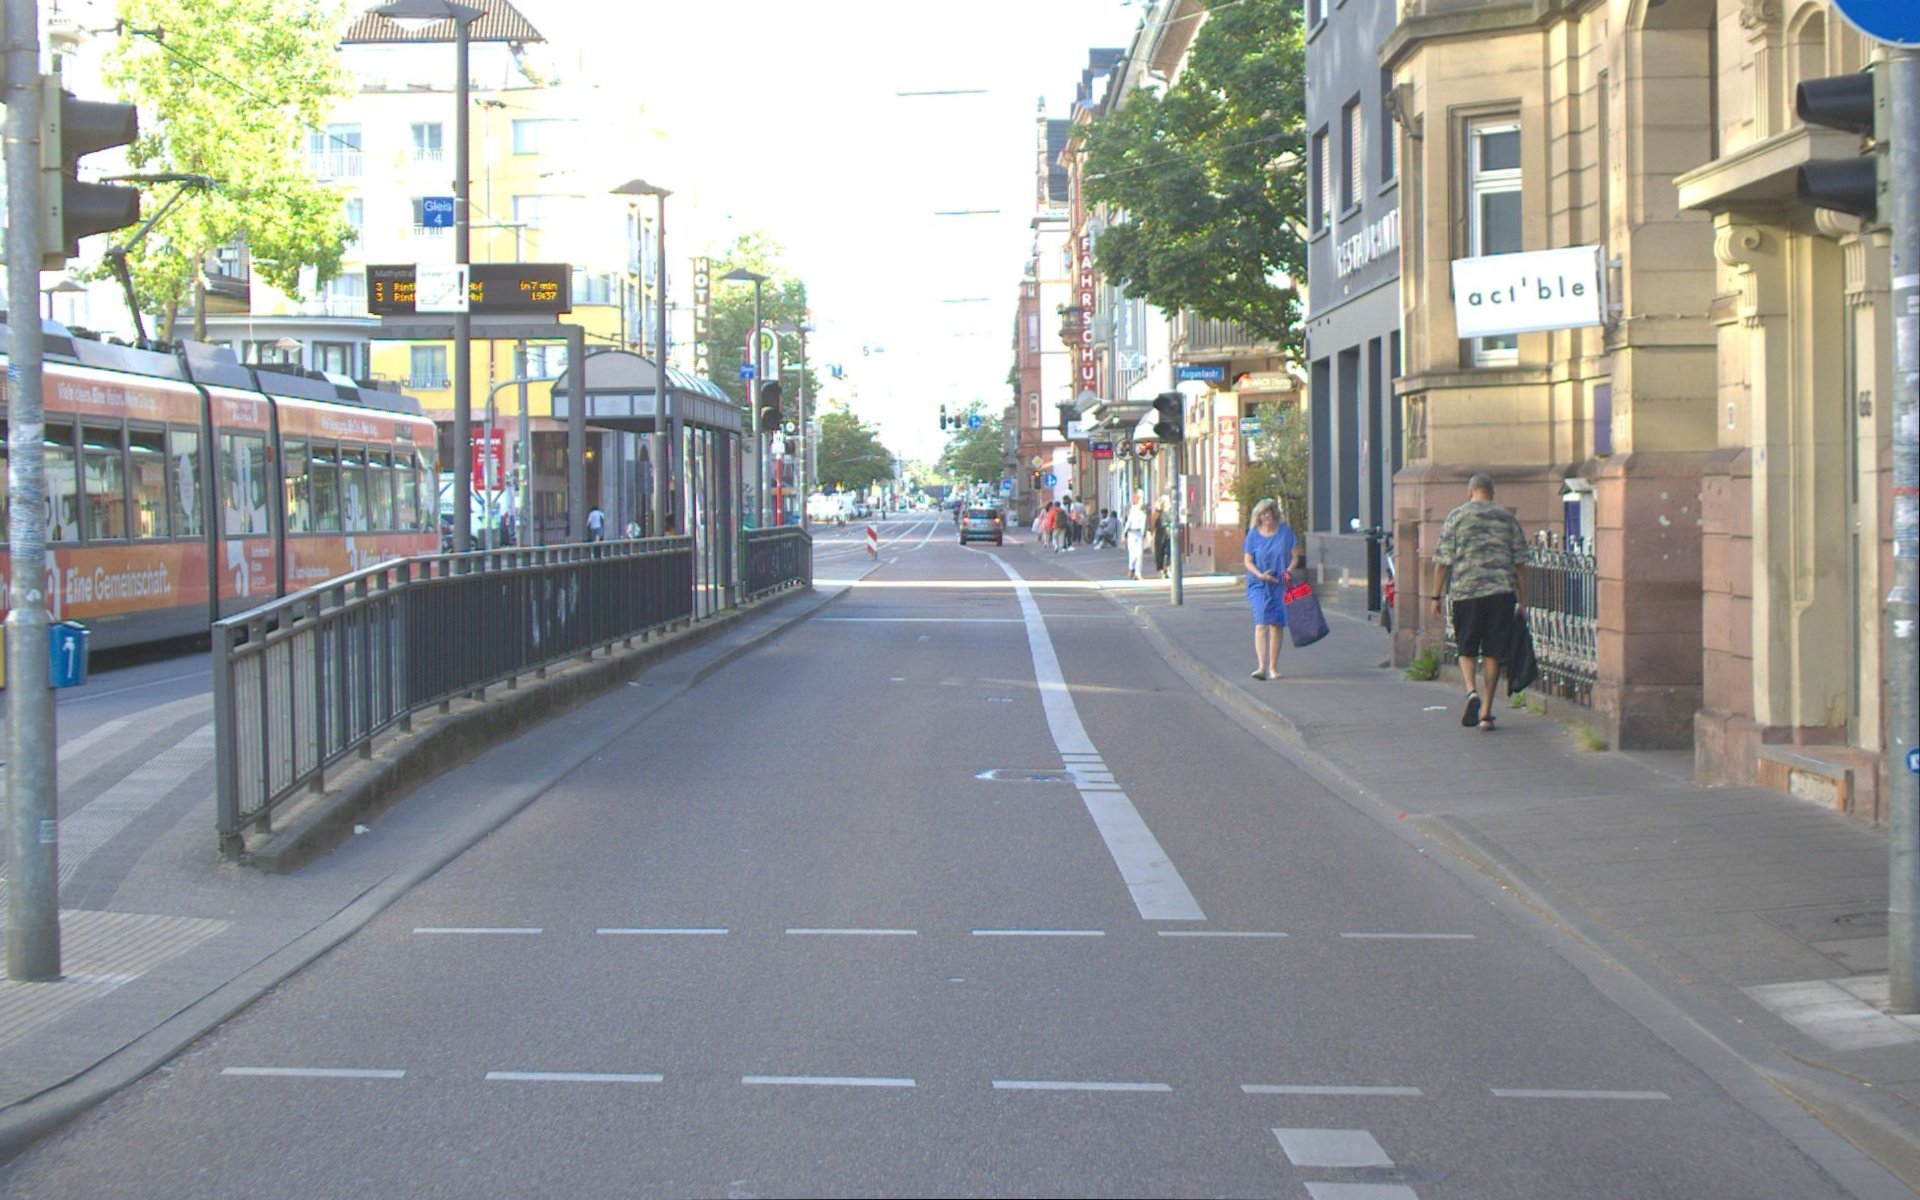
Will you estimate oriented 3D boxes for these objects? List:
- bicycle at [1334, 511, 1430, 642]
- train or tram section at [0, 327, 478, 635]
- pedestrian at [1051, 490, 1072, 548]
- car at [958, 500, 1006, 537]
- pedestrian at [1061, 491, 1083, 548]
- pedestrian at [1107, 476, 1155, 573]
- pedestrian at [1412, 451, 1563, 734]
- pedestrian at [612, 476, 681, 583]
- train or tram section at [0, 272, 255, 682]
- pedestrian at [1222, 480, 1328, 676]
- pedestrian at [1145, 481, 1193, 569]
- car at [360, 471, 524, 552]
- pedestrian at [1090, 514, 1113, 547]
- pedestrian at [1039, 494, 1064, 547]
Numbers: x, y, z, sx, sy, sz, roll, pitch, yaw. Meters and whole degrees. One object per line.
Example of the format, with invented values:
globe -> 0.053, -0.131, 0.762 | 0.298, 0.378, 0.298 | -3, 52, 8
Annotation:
bicycle -> 4.293, -0.254, 35.081 | 0.623, 1.193, 1.908 | -4, 3, -1
train or tram section -> -9.302, -1.713, 46.828 | 2.885, 3.478, 14.952 | -1, 3, 2
pedestrian -> 3.200, -2.549, 108.046 | 0.560, 1.790, 0.650 | -1, 3, 7
car -> 0.925, -3.465, 146.022 | 1.993, 1.444, 4.001 | -1, 3, 0
pedestrian -> 3.632, -2.603, 111.088 | 0.648, 1.790, 0.562 | -1, 3, 4
pedestrian -> 3.260, -1.443, 65.685 | 0.713, 1.768, 0.773 | -4, 4, -3
pedestrian -> 3.547, -0.067, 23.161 | 0.801, 1.817, 0.798 | -3, 3, 0
pedestrian -> -3.549, -0.801, 38.998 | 0.685, 1.171, 0.537 | -2, 3, 1
train or tram section -> -9.586, -1.169, 32.232 | 2.885, 3.478, 14.170 | -1, 3, 0
pedestrian -> 2.764, -0.206, 30.226 | 0.762, 1.639, 0.832 | -3, 3, 0
pedestrian -> 3.999, -1.436, 65.761 | 0.713, 1.597, 0.773 | -4, 4, -3
car -> -17.418, -2.990, 115.803 | 5.106, 2.566, 2.129 | -1, 3, 1
pedestrian -> 4.572, -2.246, 111.215 | 0.690, 1.040, 0.680 | -1, 3, 4
pedestrian -> 3.370, -2.954, 127.237 | 0.843, 1.911, 0.662 | -2, 3, -1
